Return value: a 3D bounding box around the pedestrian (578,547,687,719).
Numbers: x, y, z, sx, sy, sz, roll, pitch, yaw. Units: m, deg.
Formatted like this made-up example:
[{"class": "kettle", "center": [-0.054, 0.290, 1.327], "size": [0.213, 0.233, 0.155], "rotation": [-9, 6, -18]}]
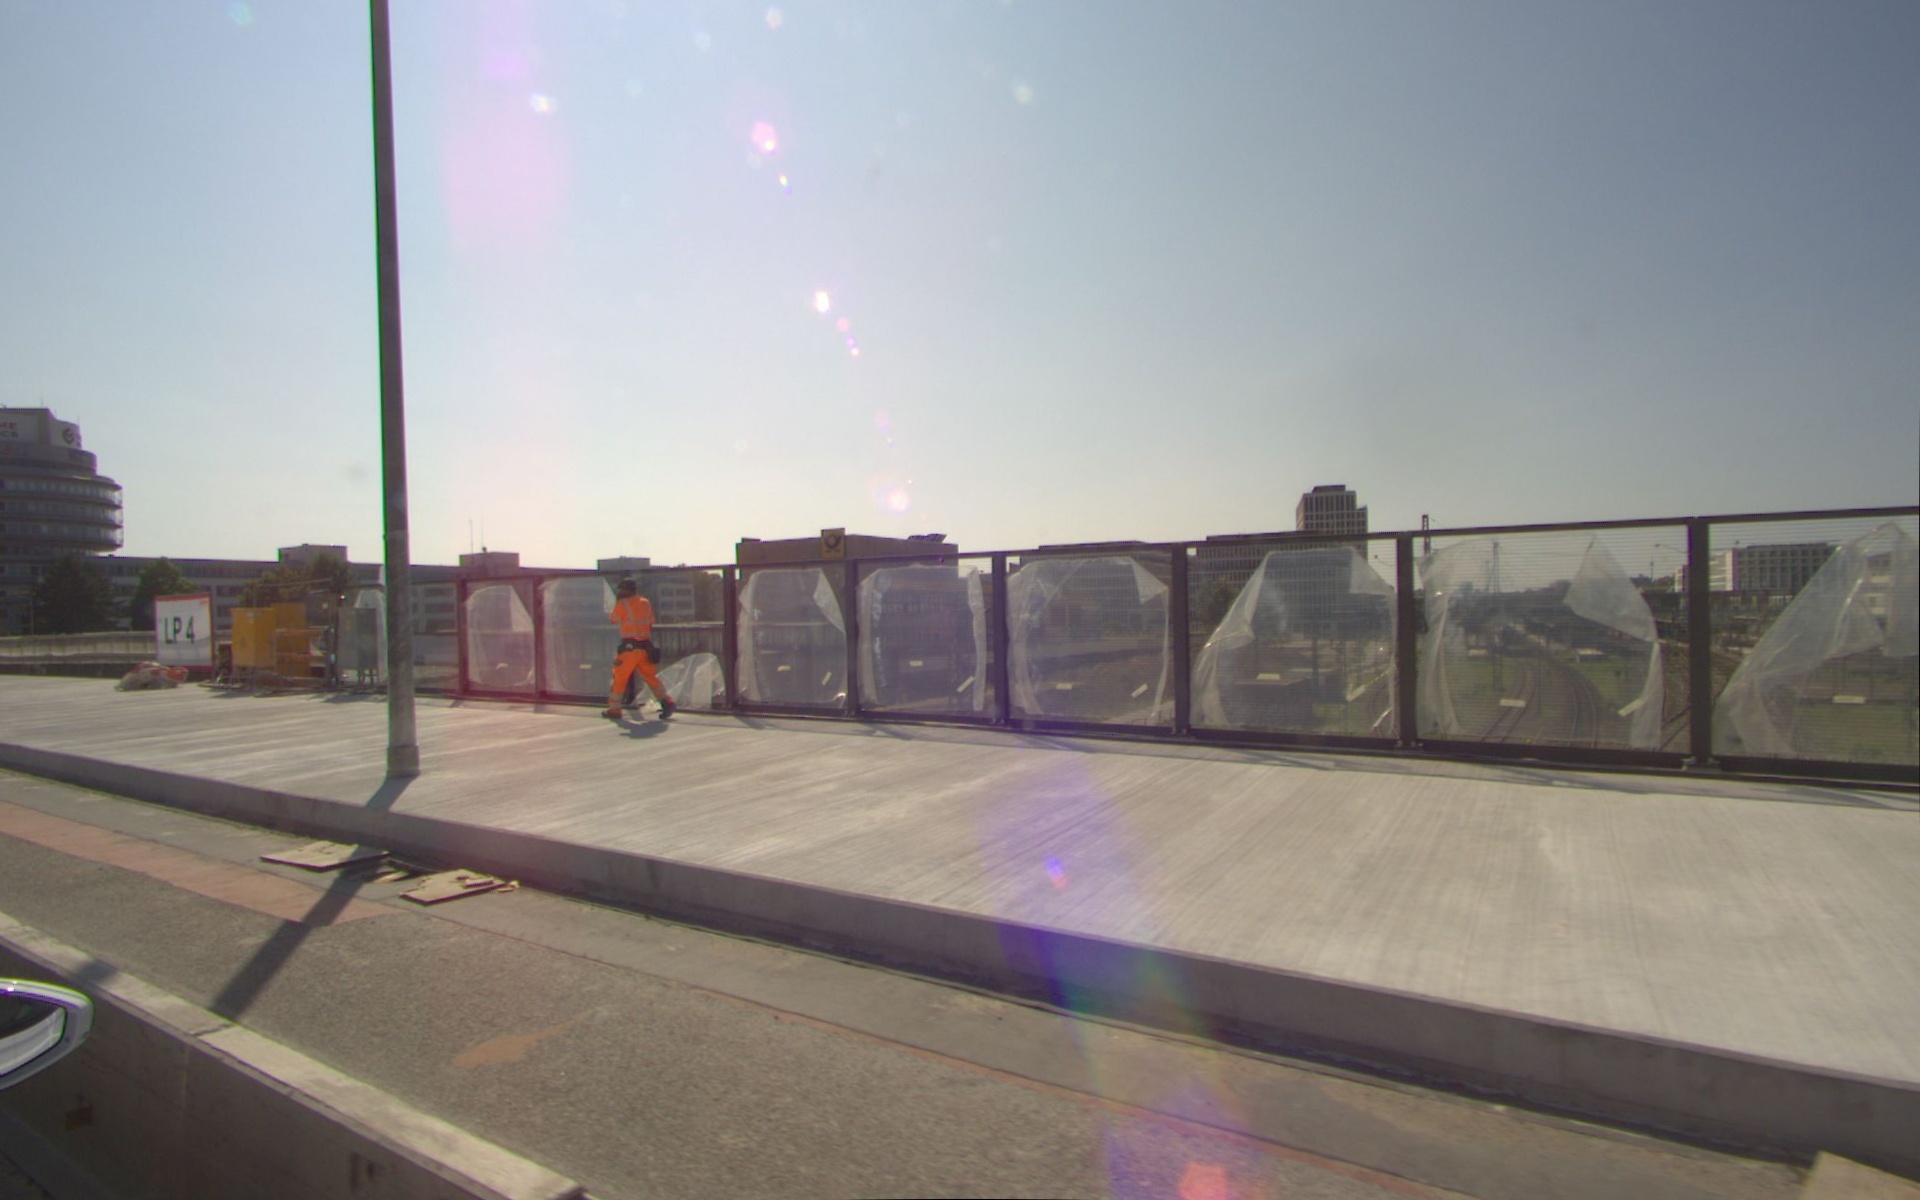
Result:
[{"class": "pedestrian", "center": [-3.971, 0.390, 12.146], "size": [1.002, 1.991, 0.729], "rotation": [-1, 2, 33]}]
